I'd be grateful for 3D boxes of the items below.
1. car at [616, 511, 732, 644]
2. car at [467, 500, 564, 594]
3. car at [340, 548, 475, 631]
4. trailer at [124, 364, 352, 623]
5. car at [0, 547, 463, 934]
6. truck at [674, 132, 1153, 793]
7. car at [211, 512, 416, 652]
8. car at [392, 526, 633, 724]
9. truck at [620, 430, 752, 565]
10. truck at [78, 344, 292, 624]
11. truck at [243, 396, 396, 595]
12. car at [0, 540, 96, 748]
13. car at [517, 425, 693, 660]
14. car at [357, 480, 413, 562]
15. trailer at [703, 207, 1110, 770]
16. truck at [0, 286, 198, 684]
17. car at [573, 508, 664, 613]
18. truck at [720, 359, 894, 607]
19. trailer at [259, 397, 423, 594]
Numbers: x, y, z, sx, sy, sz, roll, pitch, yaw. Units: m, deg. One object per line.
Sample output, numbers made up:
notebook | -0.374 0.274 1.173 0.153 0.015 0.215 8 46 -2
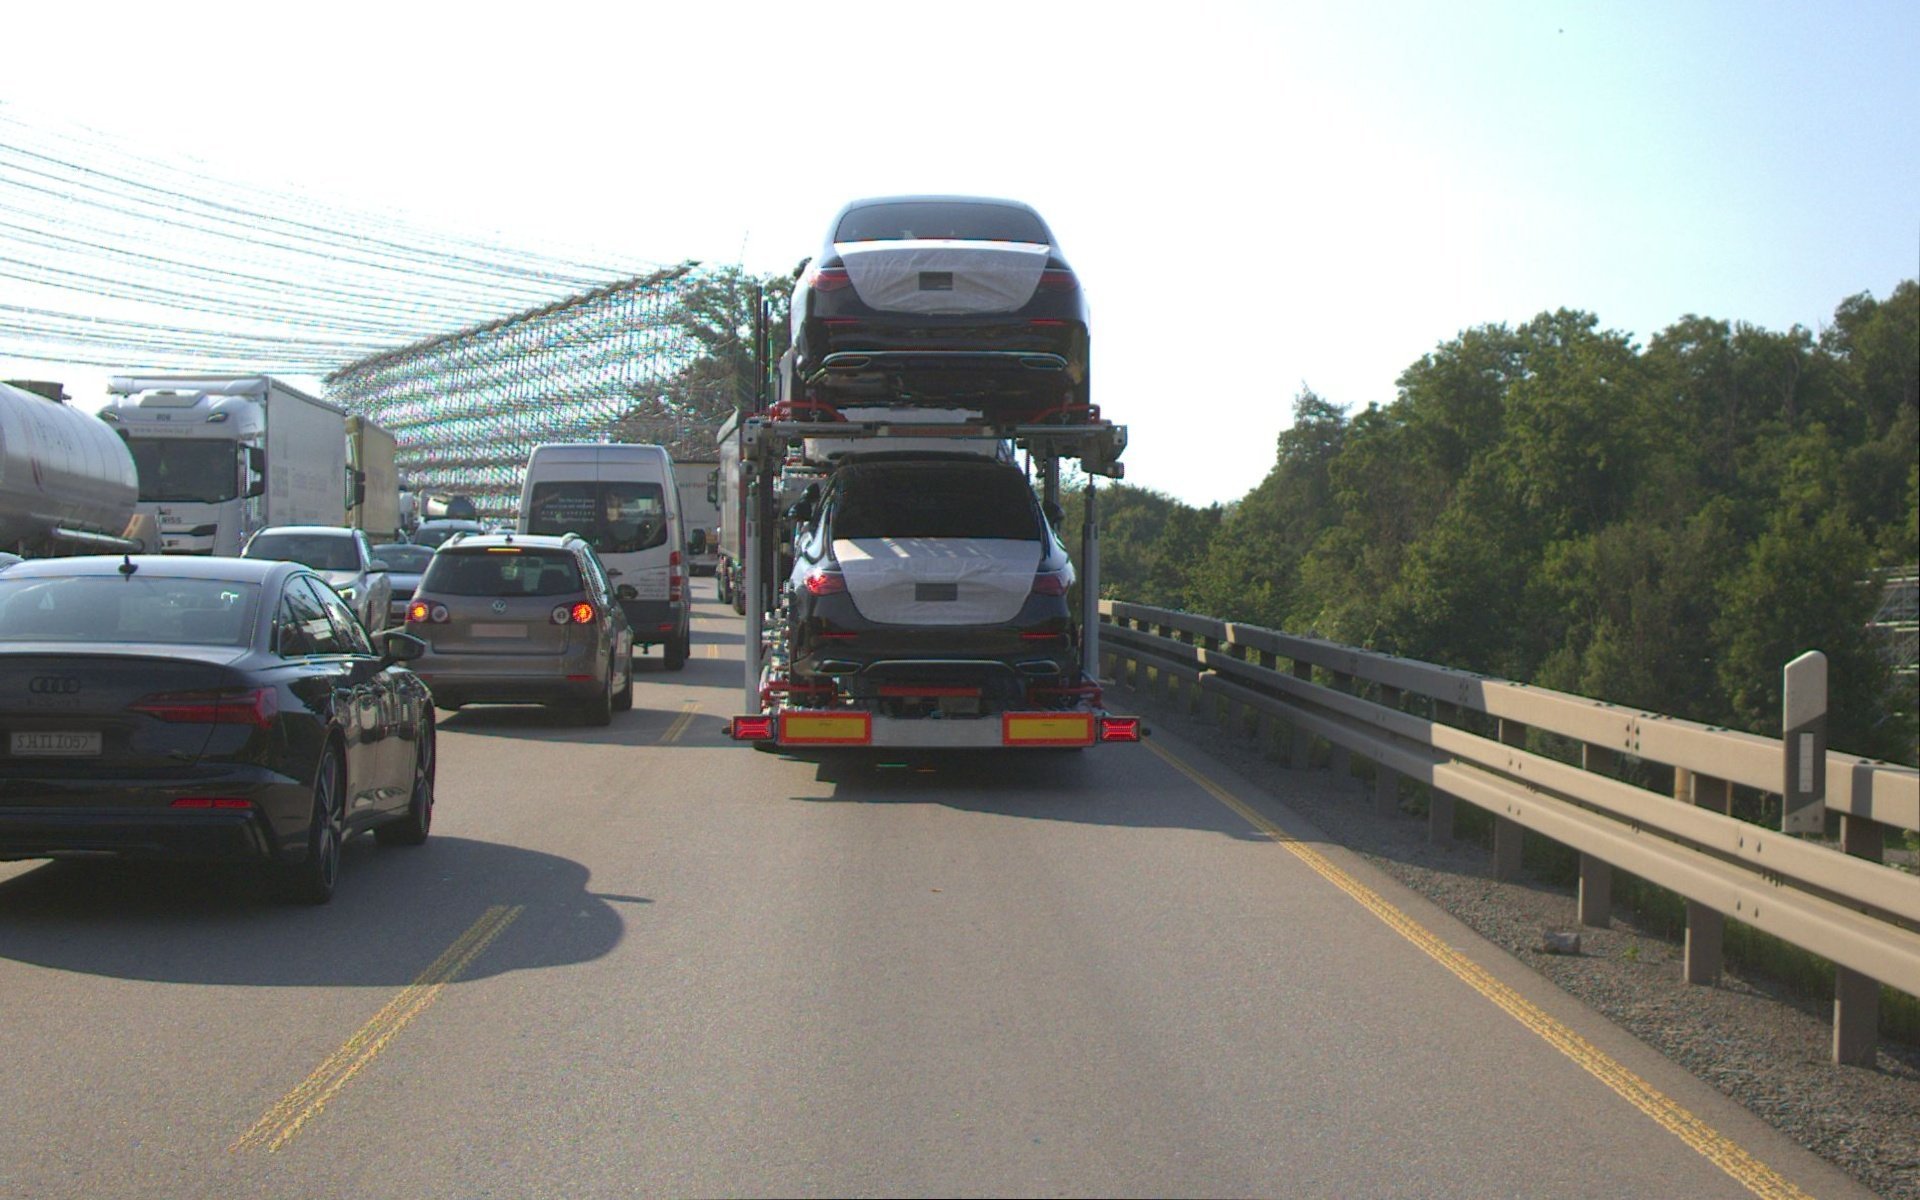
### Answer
car | -4.458 -0.332 53.202 1.668 1.978 3.819 0 0 -7
car | -9.387 -1.154 72.821 1.832 1.910 4.866 0 1 -5
car | -8.723 -0.165 54.509 1.711 1.248 4.052 -1 0 -3
trailer | -12.939 -1.746 62.559 2.453 4.251 12.147 0 0 -4
car | -3.612 0.534 15.831 1.940 1.475 5.222 -1 0 -1
truck | -0.310 -0.824 23.502 2.870 3.966 5.771 0 0 -1
car | -8.049 -0.229 43.155 1.846 1.642 4.560 -1 0 -2
car | -3.774 0.198 29.563 1.700 1.581 4.147 0 0 -2
truck | -10.059 -3.697 124.872 3.647 4.661 11.699 0 1 -10
truck | -12.380 -1.762 55.387 2.443 4.257 6.322 0 0 -4
truck | -14.226 -2.253 76.744 2.893 4.257 5.772 0 0 -6
car | -7.340 0.298 23.542 1.739 1.397 4.903 0 0 -2
car | -4.208 -0.654 41.236 1.979 2.675 4.147 0 0 -4
car | -19.808 -2.724 118.534 1.668 2.756 4.961 0 1 -7
trailer | -0.496 -0.786 31.942 2.874 3.980 15.280 0 0 -1
truck | -11.278 -1.257 39.171 2.808 3.956 13.896 2 1 -4
car | -6.650 -0.735 66.750 1.668 1.978 3.819 0 0 -7
truck | -3.296 -2.362 70.789 3.228 4.661 11.697 0 1 -4
trailer | -14.989 -2.350 84.194 2.893 4.379 14.382 0 0 -6
